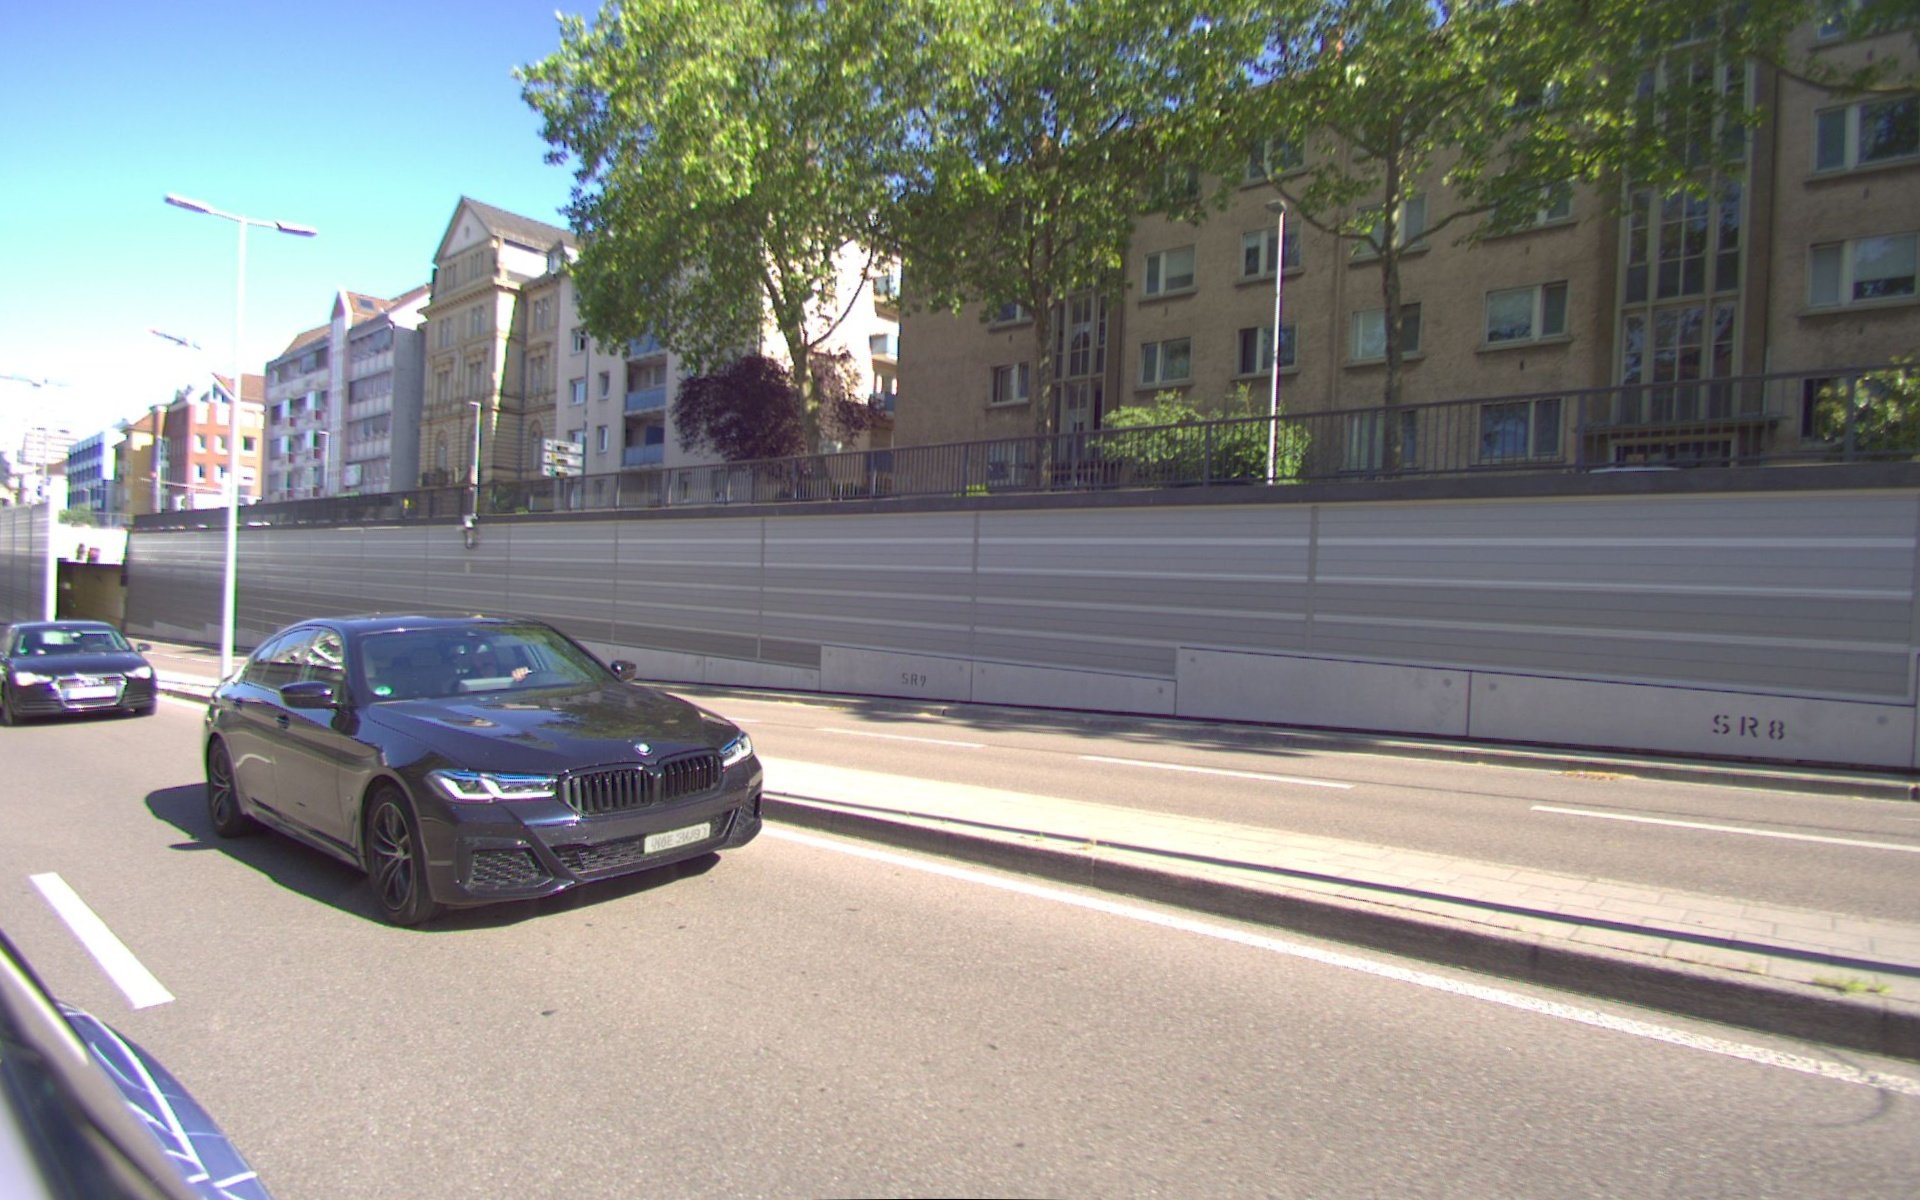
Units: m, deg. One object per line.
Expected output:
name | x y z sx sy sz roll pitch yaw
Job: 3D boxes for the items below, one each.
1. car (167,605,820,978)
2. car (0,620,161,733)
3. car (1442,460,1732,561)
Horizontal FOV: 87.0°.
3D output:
car | -3.213 0.783 6.304 4.999 1.450 1.790 -1 0 41
car | -13.447 1.039 15.111 3.886 1.429 1.678 -1 0 41
car | 11.396 -1.536 18.545 4.300 1.596 1.902 2 1 39
